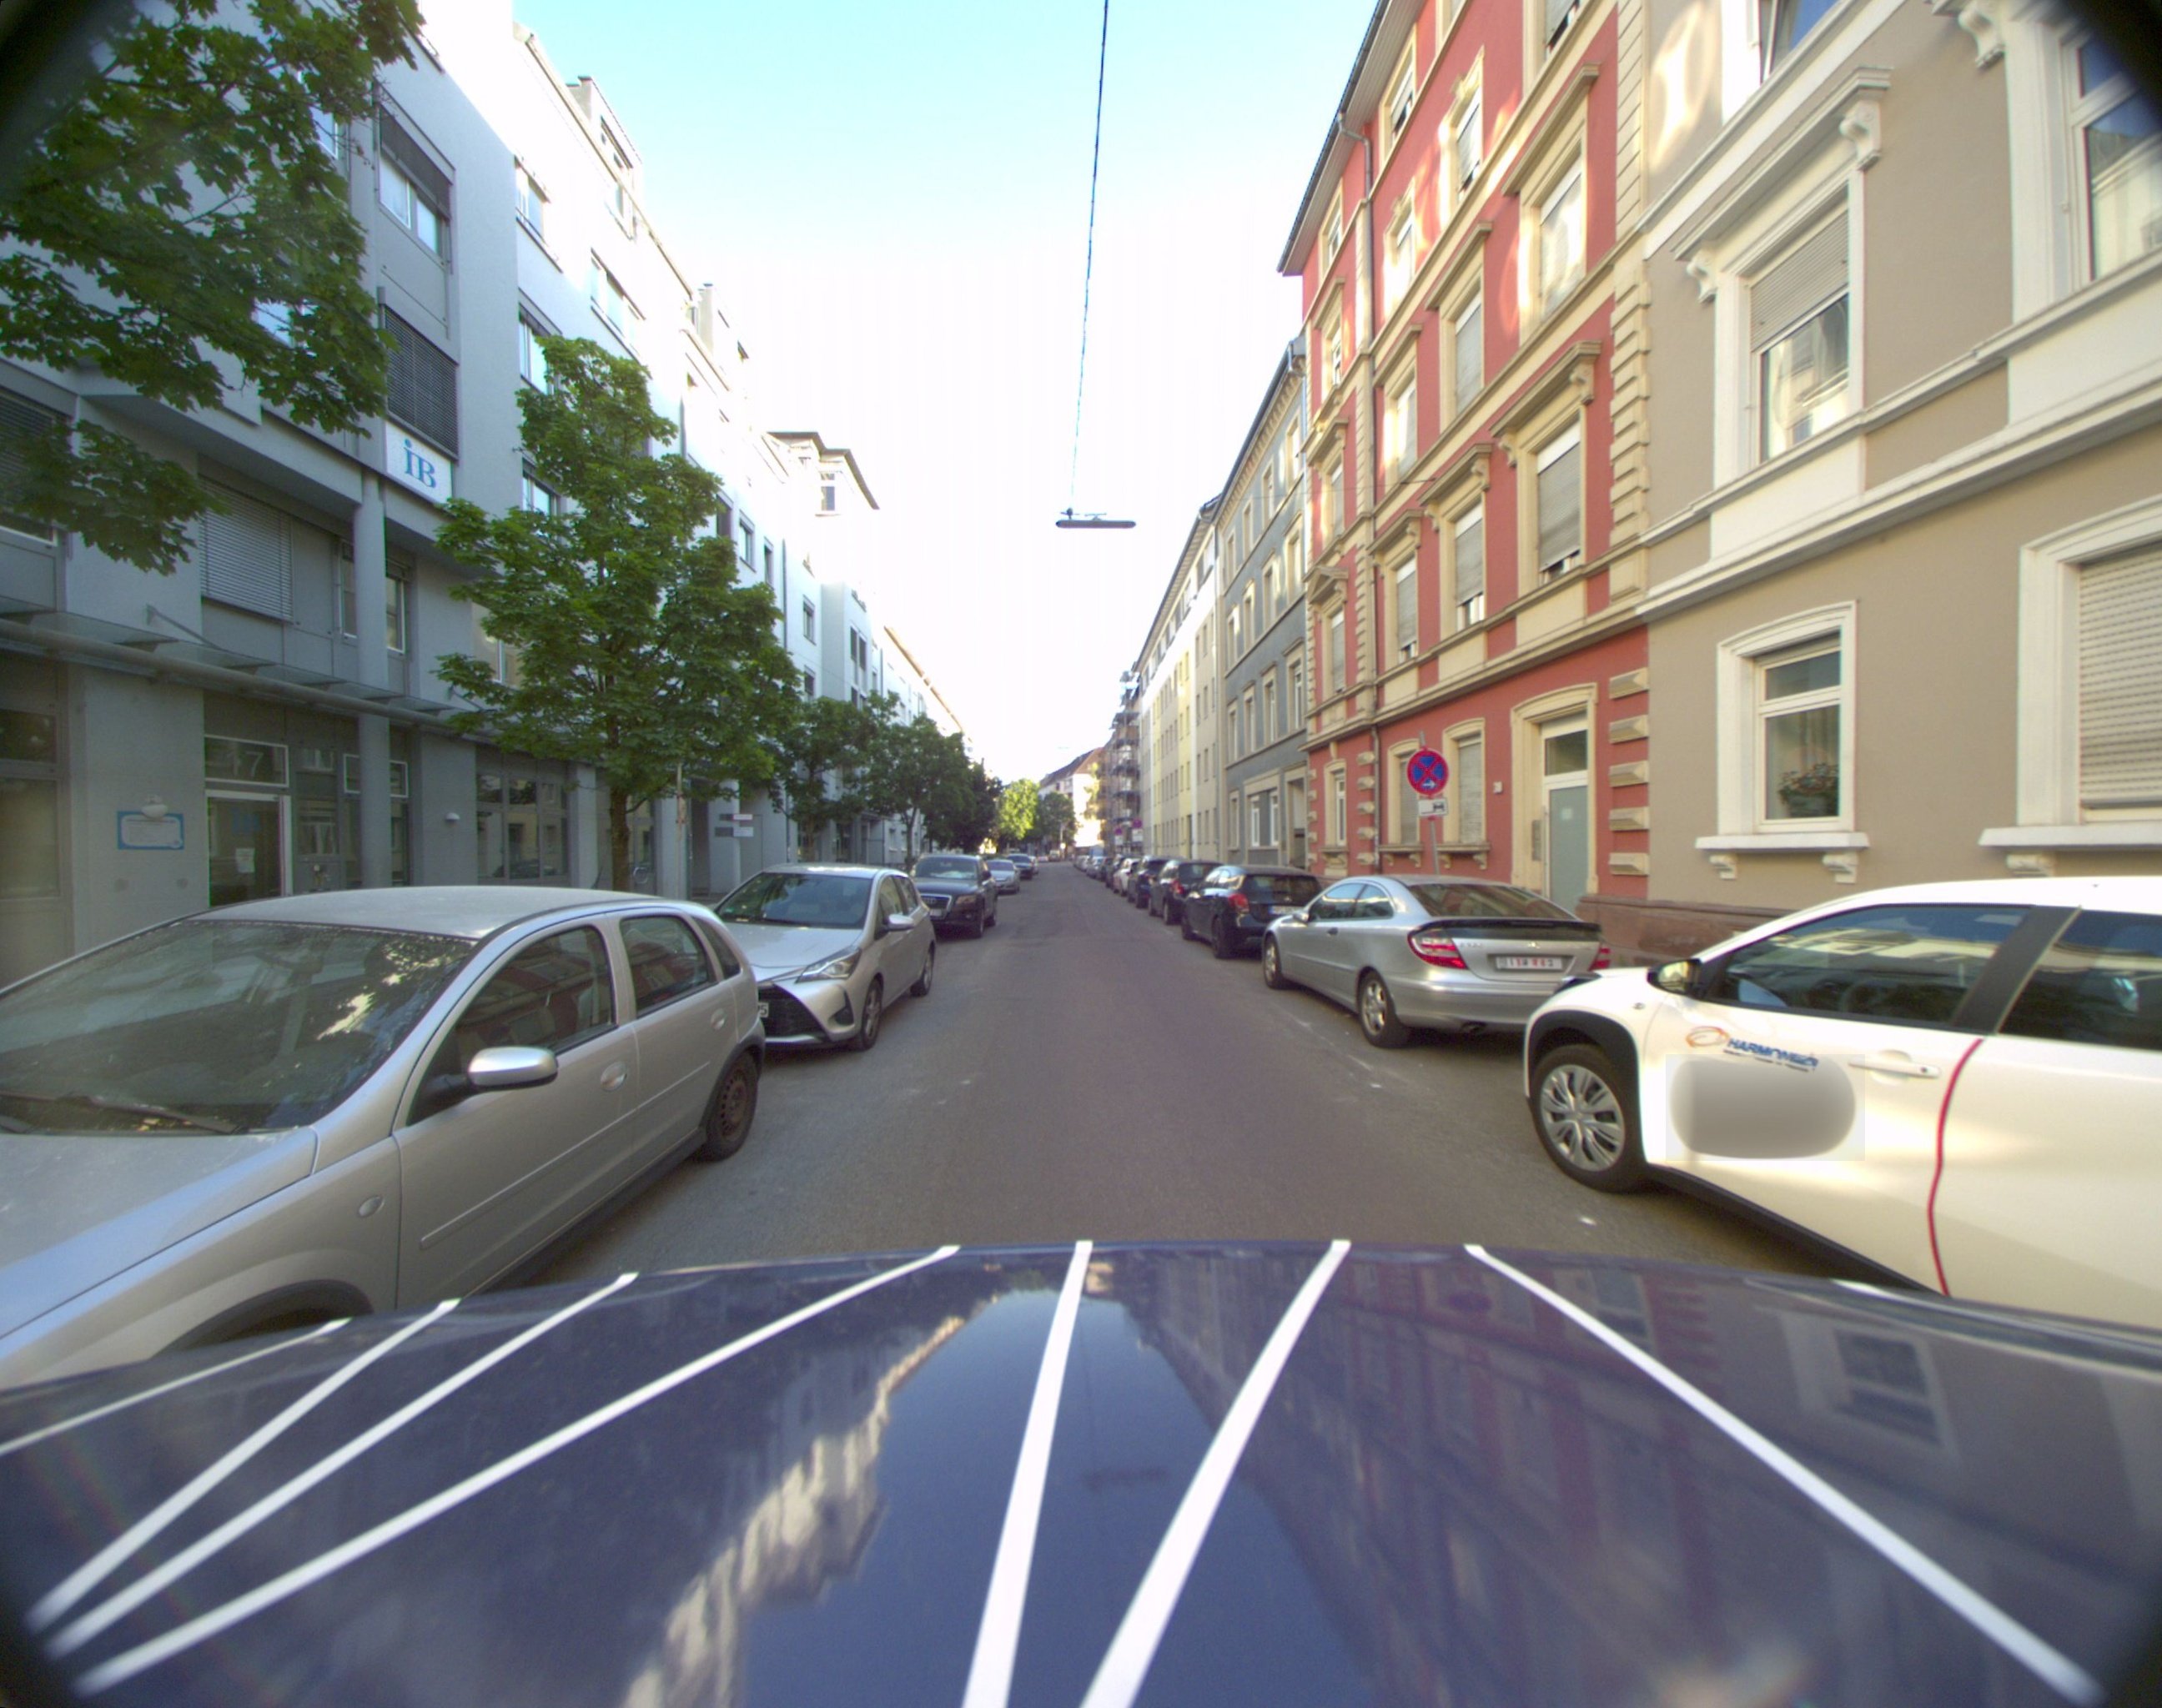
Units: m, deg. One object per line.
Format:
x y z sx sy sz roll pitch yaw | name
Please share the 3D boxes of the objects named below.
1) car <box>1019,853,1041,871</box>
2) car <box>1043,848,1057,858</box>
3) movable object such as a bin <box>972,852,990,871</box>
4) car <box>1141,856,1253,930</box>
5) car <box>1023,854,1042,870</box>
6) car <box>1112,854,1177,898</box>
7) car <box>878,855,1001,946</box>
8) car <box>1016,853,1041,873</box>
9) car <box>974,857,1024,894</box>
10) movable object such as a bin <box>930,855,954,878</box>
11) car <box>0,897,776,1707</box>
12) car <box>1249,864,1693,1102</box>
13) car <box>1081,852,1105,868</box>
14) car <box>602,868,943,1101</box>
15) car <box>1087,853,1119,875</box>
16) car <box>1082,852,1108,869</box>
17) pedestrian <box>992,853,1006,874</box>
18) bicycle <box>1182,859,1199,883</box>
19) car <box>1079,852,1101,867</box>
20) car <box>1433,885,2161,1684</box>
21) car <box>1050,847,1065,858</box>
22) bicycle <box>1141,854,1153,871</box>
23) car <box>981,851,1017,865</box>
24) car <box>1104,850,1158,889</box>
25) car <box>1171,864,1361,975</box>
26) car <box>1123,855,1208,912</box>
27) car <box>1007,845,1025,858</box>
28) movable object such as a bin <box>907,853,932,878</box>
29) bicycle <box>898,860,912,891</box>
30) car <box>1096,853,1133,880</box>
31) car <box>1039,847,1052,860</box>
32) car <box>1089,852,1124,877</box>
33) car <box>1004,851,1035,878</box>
-4.306 0.687 64.861 1.681 1.411 4.135 1 0 -2 | car
-5.664 -0.154 137.932 2.081 1.760 4.214 1 1 -8 | car
-7.913 0.569 60.021 1.288 1.428 1.223 0 1 -2 | movable object such as a bin
2.704 0.864 18.719 1.906 1.551 4.239 1 0 -3 | car
-4.489 0.712 71.048 1.681 1.411 4.134 1 0 -2 | car
2.361 0.785 29.434 1.926 1.551 4.266 1 0 -3 | car
-2.828 0.858 16.175 1.890 1.613 4.433 1 0 -2 | car
-4.135 0.717 59.914 1.680 1.474 3.652 1 1 1 | car
-3.456 0.884 32.643 1.768 1.421 4.343 1 0 -2 | car
-8.334 0.740 45.562 1.265 1.313 1.138 0 1 -2 | movable object such as a bin
-2.606 1.006 2.456 1.680 1.467 3.729 1 1 1 | car
3.163 0.925 7.354 1.926 1.551 4.266 1 0 -3 | car
1.132 0.566 74.354 1.999 1.439 3.998 1 0 -3 | car
-2.520 0.954 7.302 1.681 1.516 3.969 1 0 0 | car
1.548 0.688 55.084 1.928 1.480 4.615 1 0 -3 | car
1.229 0.557 69.461 1.999 1.496 3.998 1 0 -3 | car
-5.569 0.639 51.613 0.802 1.455 0.870 1 1 0 | pedestrian
5.197 0.810 36.117 0.451 1.068 1.751 -2 1 -2 | bicycle
0.873 0.569 79.663 1.999 1.423 3.998 1 0 -3 | car
3.163 0.958 2.553 1.925 1.498 4.266 1 0 0 | car
-4.107 -0.277 132.231 2.081 1.760 4.214 1 1 -8 | car
4.761 0.636 54.980 0.479 1.162 1.731 -4 1 -4 | bicycle
-9.502 0.432 88.333 3.998 1.556 1.999 1 1 -4 | car
2.222 0.671 34.811 1.926 1.654 4.467 1 0 -3 | car
2.844 0.948 12.747 1.926 1.475 4.266 1 0 -3 | car
2.504 0.831 23.534 1.926 1.551 4.266 1 0 -3 | car
-12.055 -0.455 140.719 2.163 2.270 6.199 1 1 -15 | car
-9.632 0.680 45.267 1.265 1.428 1.138 0 1 -2 | movable object such as a bin
-7.129 0.860 30.809 0.522 1.161 1.738 1 1 -12 | bicycle
1.937 0.693 44.868 1.784 1.480 4.419 1 0 -2 | car
-5.910 -0.107 126.876 1.999 2.002 3.999 -2 1 -2 | car
1.633 0.661 49.715 1.928 1.480 4.616 1 0 -3 | car
-3.934 0.665 49.313 1.876 1.626 4.720 1 0 -3 | car
